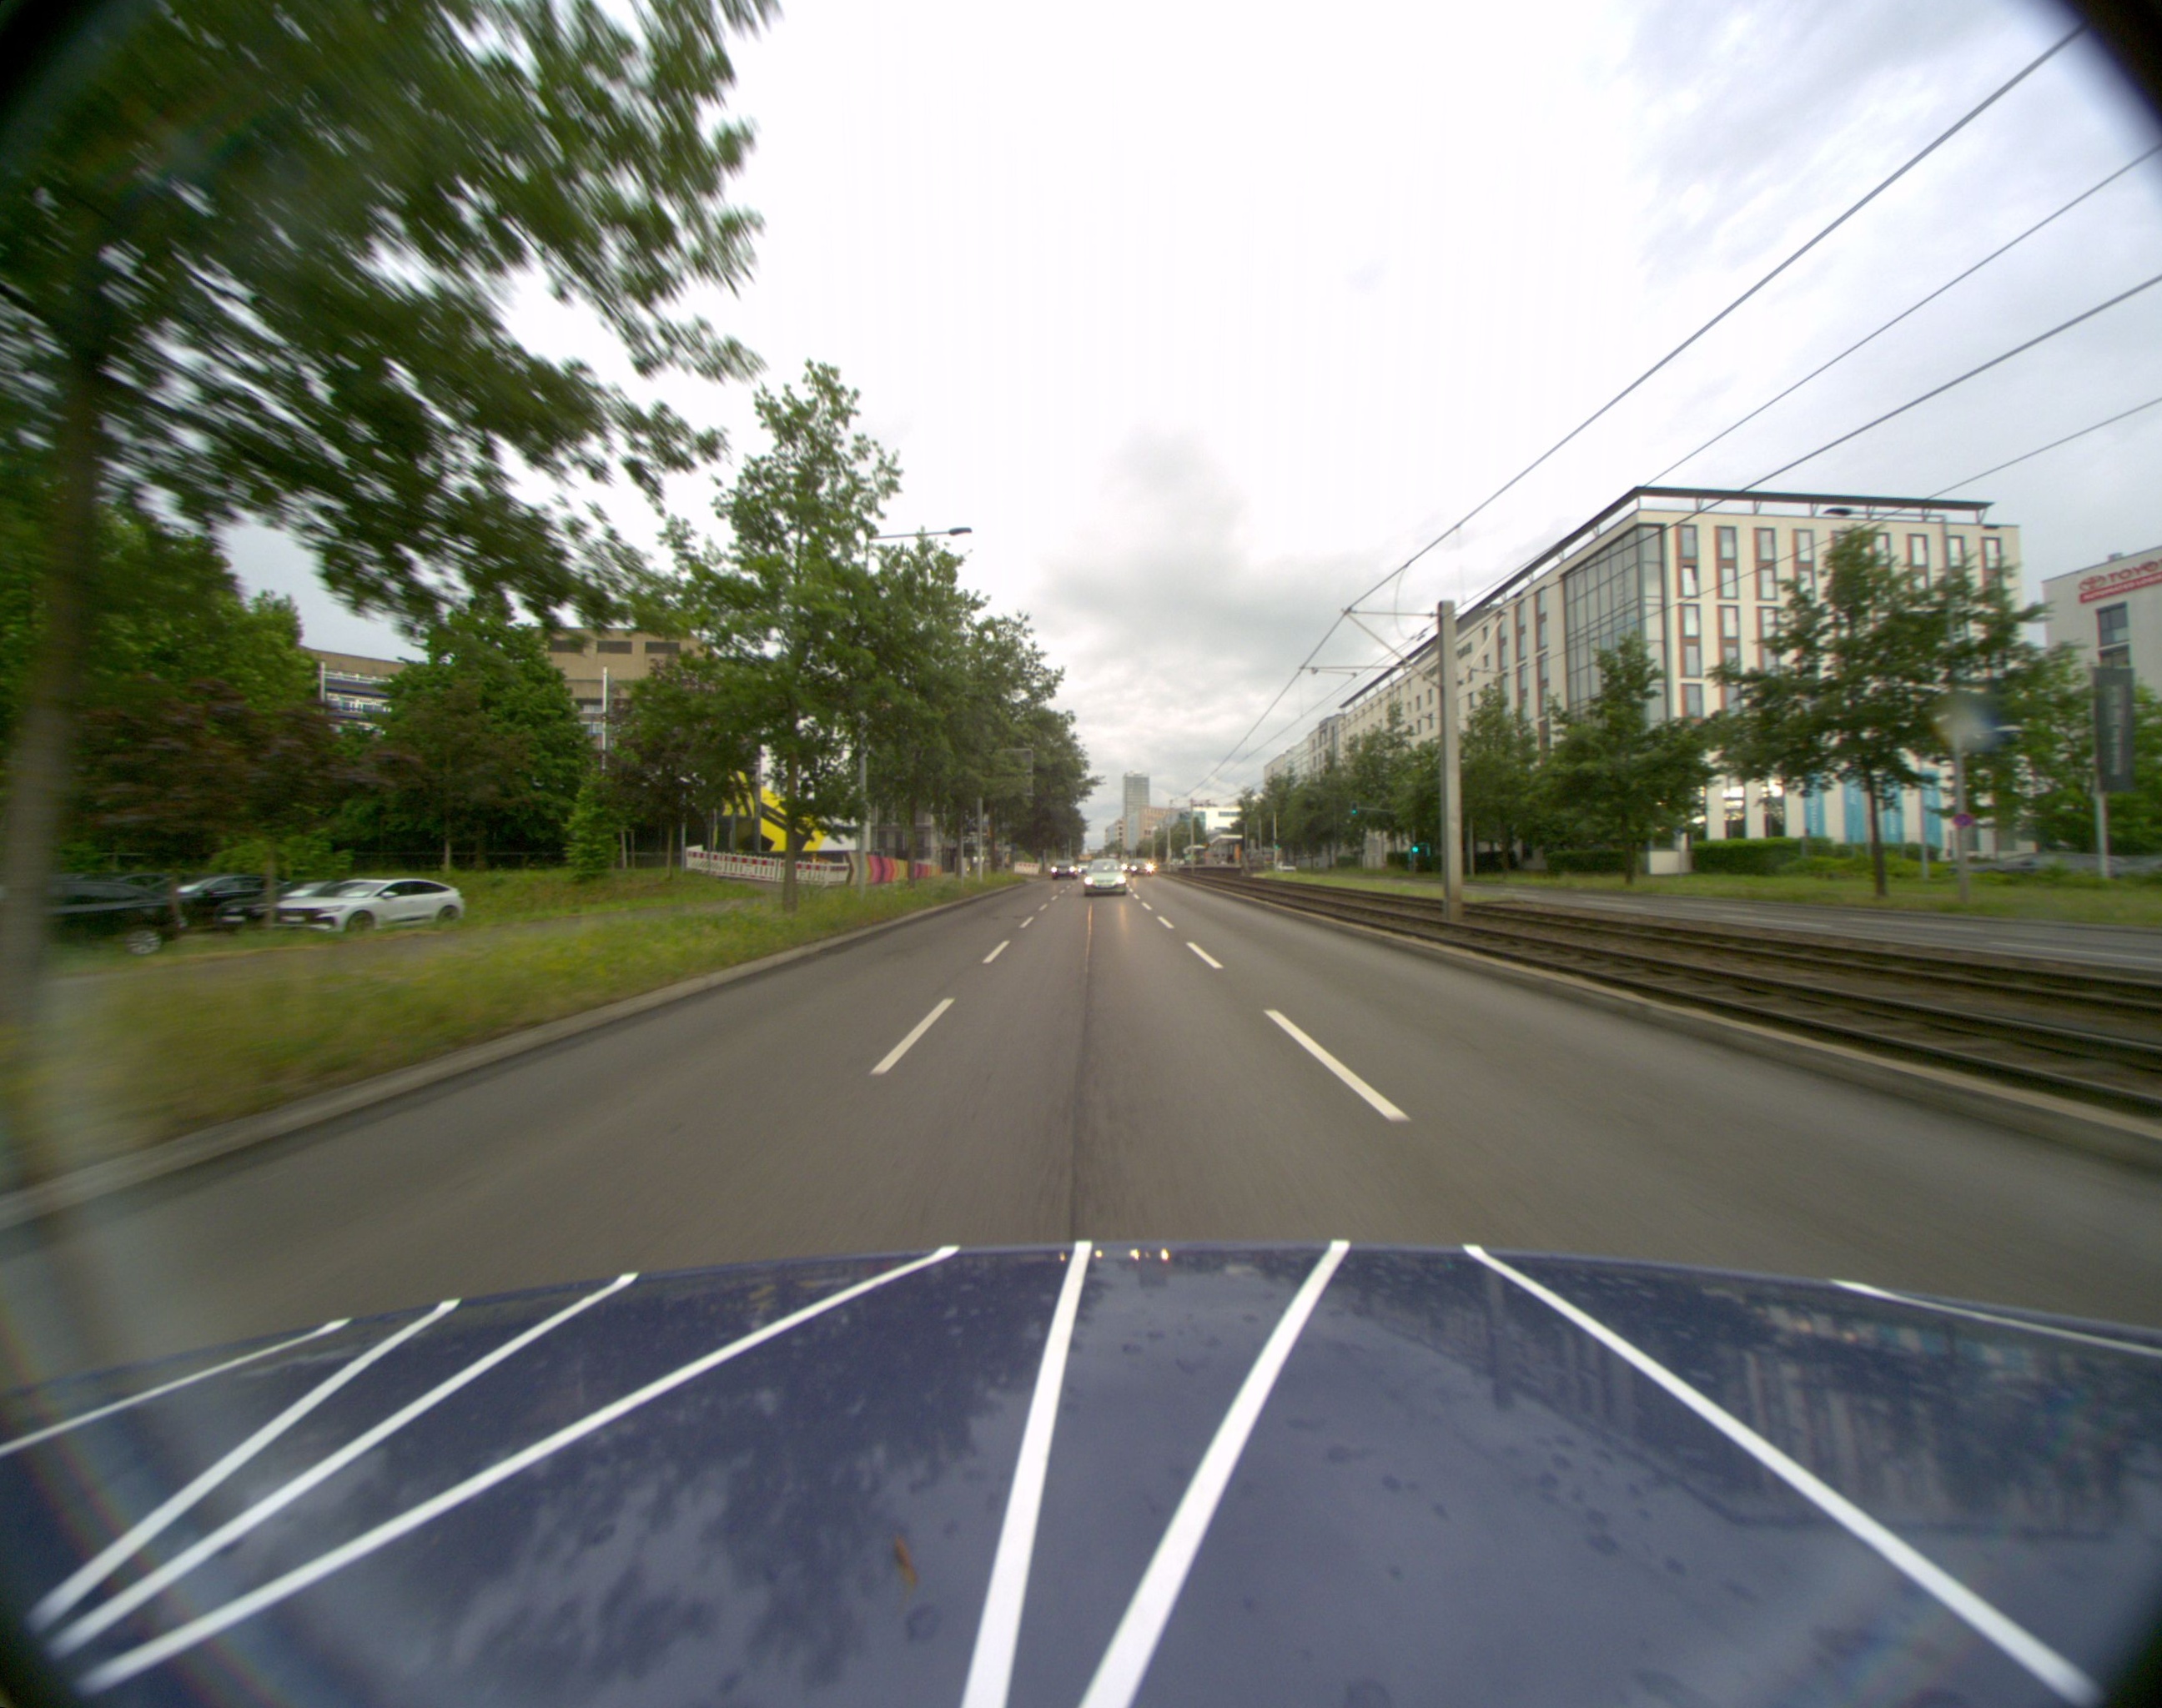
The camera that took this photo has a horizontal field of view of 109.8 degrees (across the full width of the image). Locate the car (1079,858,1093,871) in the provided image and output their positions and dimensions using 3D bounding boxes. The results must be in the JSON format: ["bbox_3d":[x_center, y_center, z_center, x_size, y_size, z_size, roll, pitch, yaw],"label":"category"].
[{"bbox_3d":[0.761,1.632,114.054,1.860,1.798,4.116,-2,-2,3],"label":"car"}]

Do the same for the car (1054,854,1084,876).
[{"bbox_3d":[-0.922,0.909,60.113,1.828,1.599,4.117,-2,-2,6],"label":"car"}]

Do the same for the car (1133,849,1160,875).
[{"bbox_3d":[5.426,0.637,62.944,1.998,2.002,4.001,-3,1,5],"label":"car"}]

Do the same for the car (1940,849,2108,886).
[{"bbox_3d":[38.295,0.562,31.025,3.989,1.383,1.807,-2,1,38],"label":"car"}]

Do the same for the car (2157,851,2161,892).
[{"bbox_3d":[38.327,0.566,24.393,3.990,1.383,1.806,-2,1,28],"label":"car"}]

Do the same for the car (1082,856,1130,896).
[{"bbox_3d":[1.104,0.910,32.241,1.828,1.499,4.116,-2,-1,4],"label":"car"}]

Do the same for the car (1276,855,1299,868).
[{"bbox_3d":[22.602,0.803,83.309,1.701,1.356,3.818,2,0,4],"label":"car"}]

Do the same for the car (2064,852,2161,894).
[{"bbox_3d":[38.893,0.671,27.282,3.990,1.383,1.806,-2,1,28],"label":"car"}]

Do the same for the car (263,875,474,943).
[{"bbox_3d":[-19.907,1.464,21.552,1.702,1.476,4.460,-3,1,0],"label":"car"}]

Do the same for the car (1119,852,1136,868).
[{"bbox_3d":[5.572,0.766,90.506,1.860,1.798,4.116,-2,-2,4],"label":"car"}]

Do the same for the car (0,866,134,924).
[{"bbox_3d":[-29.924,1.162,21.459,1.702,1.476,3.641,-3,1,0],"label":"car"}]

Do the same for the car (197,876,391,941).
[{"bbox_3d":[-22.422,1.492,21.864,1.702,1.476,3.641,-3,1,0],"label":"car"}]

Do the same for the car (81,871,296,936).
[{"bbox_3d":[-24.972,1.318,21.487,1.702,1.476,3.641,-3,1,0],"label":"car"}]

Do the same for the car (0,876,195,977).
[{"bbox_3d":[-20.041,1.333,14.063,1.908,1.666,4.589,0,1,0],"label":"car"}]

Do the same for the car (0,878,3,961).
[{"bbox_3d":[-22.501,1.313,13.426,1.702,1.666,3.641,1,1,0],"label":"car"}]

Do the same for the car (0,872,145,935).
[{"bbox_3d":[-27.971,1.316,20.138,1.702,1.476,3.641,-3,1,0],"label":"car"}]
